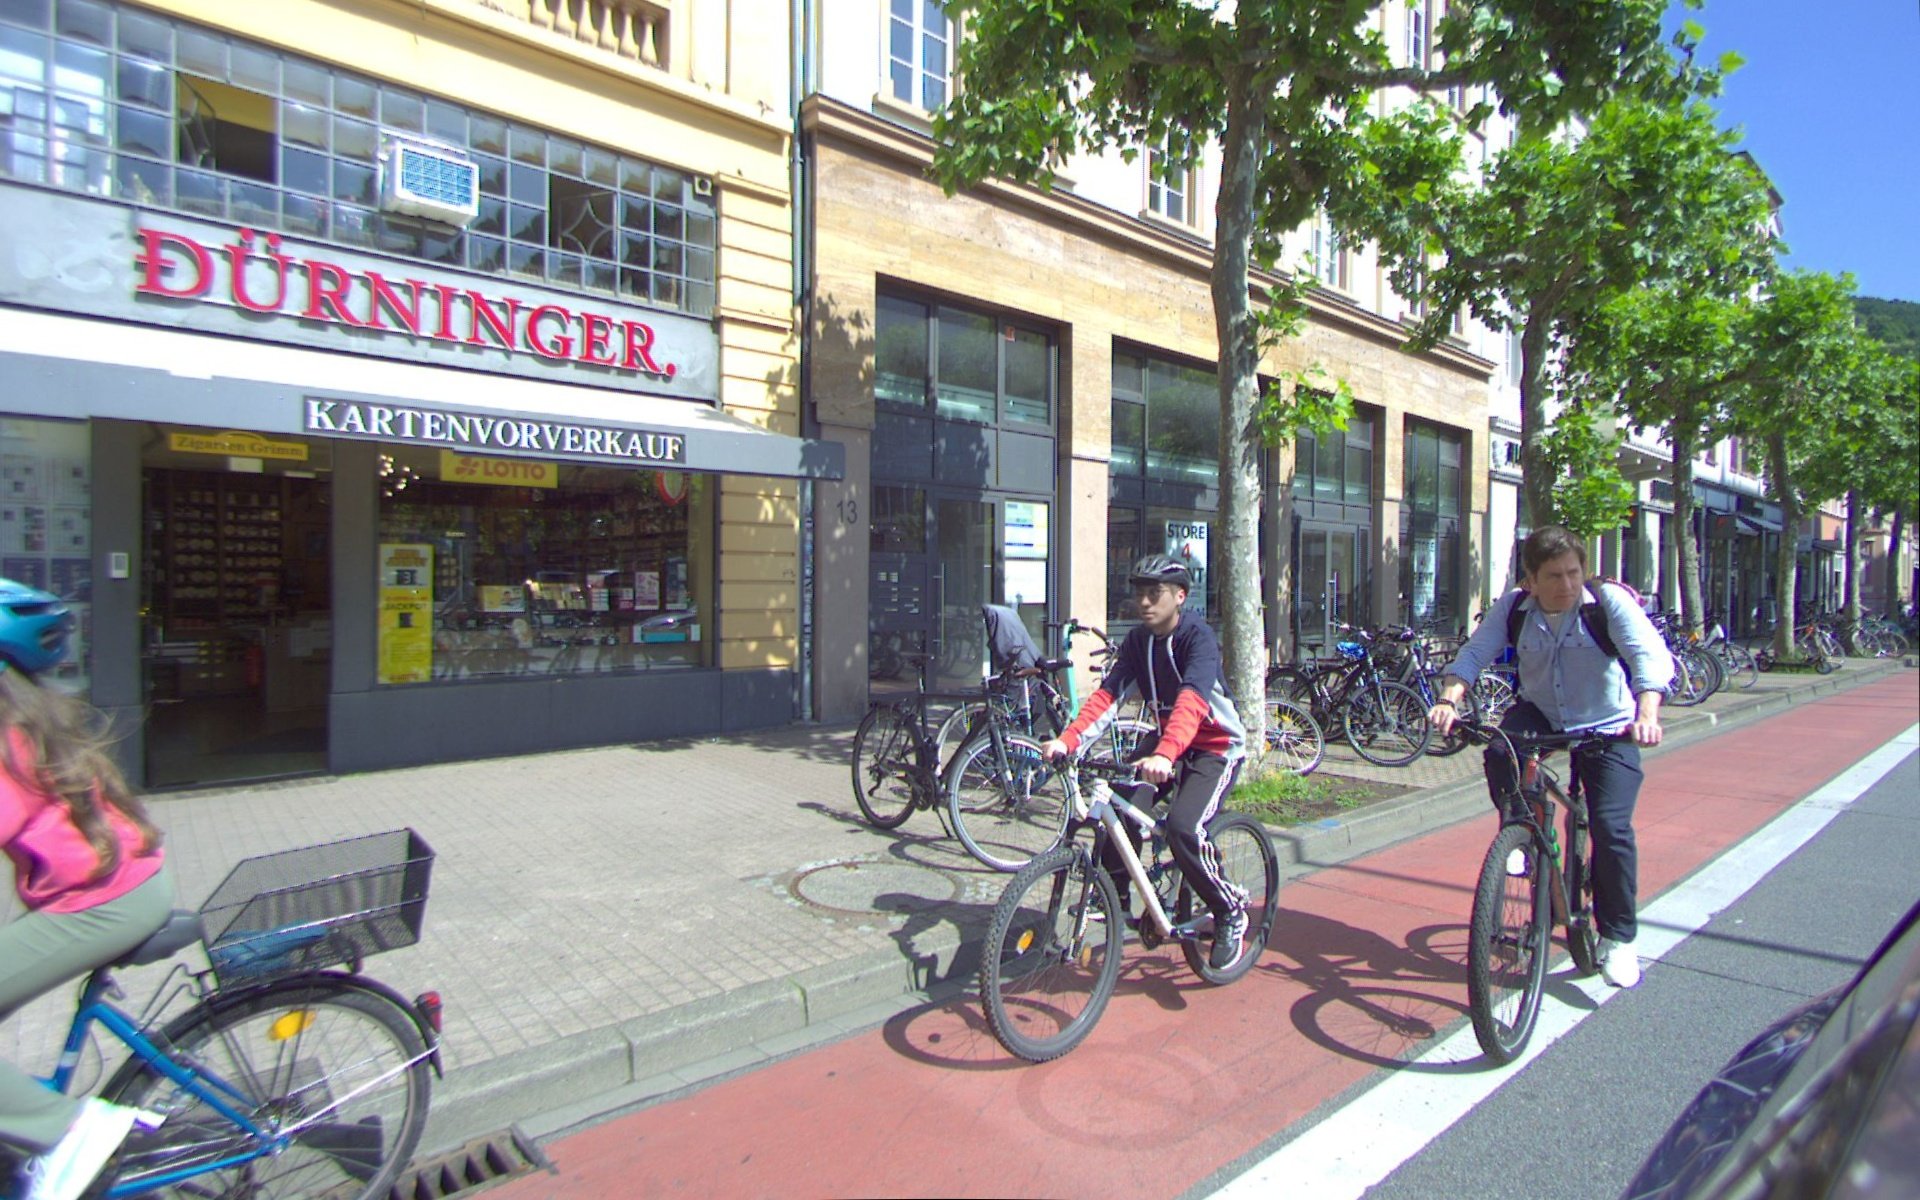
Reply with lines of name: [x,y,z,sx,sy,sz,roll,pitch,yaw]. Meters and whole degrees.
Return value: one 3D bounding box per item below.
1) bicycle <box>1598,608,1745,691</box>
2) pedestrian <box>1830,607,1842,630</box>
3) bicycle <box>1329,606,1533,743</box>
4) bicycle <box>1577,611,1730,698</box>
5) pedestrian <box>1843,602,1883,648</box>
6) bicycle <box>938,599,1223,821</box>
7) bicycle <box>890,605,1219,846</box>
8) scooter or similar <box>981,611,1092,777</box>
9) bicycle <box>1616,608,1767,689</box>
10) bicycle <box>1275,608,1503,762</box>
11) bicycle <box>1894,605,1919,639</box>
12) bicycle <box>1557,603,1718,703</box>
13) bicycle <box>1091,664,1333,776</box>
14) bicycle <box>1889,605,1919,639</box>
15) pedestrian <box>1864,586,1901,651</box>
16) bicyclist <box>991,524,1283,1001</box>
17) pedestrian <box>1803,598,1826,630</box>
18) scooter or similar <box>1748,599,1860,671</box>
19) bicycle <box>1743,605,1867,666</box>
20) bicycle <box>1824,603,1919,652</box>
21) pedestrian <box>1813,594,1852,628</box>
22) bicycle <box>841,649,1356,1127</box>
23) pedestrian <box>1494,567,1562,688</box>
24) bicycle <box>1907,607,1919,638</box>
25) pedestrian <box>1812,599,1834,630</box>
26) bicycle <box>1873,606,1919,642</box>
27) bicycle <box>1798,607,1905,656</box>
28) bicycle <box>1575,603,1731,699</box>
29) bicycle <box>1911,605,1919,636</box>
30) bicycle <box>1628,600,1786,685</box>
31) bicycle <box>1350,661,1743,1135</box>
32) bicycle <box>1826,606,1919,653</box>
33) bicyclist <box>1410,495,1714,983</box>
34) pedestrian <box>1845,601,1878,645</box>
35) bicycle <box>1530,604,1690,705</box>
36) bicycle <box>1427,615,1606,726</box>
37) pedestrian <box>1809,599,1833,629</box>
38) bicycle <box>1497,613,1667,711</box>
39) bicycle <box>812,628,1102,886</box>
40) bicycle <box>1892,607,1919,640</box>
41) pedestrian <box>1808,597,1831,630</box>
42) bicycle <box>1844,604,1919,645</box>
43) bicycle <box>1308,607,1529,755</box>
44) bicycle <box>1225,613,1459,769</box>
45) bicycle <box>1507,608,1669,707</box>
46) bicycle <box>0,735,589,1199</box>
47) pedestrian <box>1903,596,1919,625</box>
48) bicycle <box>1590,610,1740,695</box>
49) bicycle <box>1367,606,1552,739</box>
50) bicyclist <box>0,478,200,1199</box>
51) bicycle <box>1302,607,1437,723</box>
bicycle: [10.386,0.689,14.828,0.395,1.123,1.733,0,0,-38]
pedestrian: [37.069,0.769,42.827,0.429,0.980,0.342,1,0,-39]
bicycle: [4.648,0.685,10.121,0.465,1.216,1.848,0,0,-38]
bicycle: [9.761,0.736,14.298,0.469,1.123,1.733,0,0,-38]
pedestrian: [25.623,0.695,28.717,0.566,1.258,0.788,-1,0,-43]
bicycle: [0.799,0.667,6.874,1.811,1.325,0.682,0,0,30]
bicycle: [0.554,0.678,6.250,1.923,1.273,0.697,0,0,31]
scooter or similar: [0.630,0.695,8.030,0.418,1.193,1.219,0,0,28]
bicycle: [11.050,0.697,15.339,0.723,1.123,1.733,0,0,-38]
bicycle: [3.805,0.694,9.120,0.597,1.216,1.848,0,0,-38]
bicycle: [33.222,0.754,34.594,1.836,1.141,0.623,-2,-1,40]
bicycle: [9.016,0.674,13.527,0.469,1.232,1.733,0,0,-38]
bicycle: [2.047,0.939,8.292,1.833,0.725,0.652,0,0,29]
bicycle: [33.987,0.767,35.580,1.835,1.141,0.755,-2,0,37]
pedestrian: [24.801,0.506,27.212,0.829,1.711,0.639,2,-3,-43]
bicyclist: [0.636,0.499,3.632,0.777,1.459,0.699,0,-1,-44]
pedestrian: [35.996,0.583,42.652,0.523,1.349,0.682,1,0,-43]
scooter or similar: [15.999,0.645,19.210,0.656,1.291,1.481,0,-1,-29]
bicycle: [17.399,0.703,20.885,0.657,1.201,1.845,0,-1,-35]
bicycle: [23.963,0.693,26.556,0.660,1.212,1.847,0,0,-33]
pedestrian: [39.483,0.488,45.804,0.823,1.502,1.253,0,0,-43]
bicycle: [0.606,0.791,3.593,2.047,1.141,0.699,0,-1,-44]
pedestrian: [7.893,0.365,14.064,0.731,1.633,0.616,0,0,-40]
bicycle: [34.928,0.796,35.942,0.554,1.107,1.843,0,-1,-40]
pedestrian: [37.306,0.621,43.748,0.598,1.268,0.640,-1,3,-43]
bicycle: [29.900,0.759,31.745,1.838,1.141,0.490,-2,-3,42]
bicycle: [21.890,0.751,24.867,0.779,1.111,1.846,0,0,-35]
bicycle: [9.548,0.661,14.001,0.469,1.232,1.733,0,0,-38]
bicycle: [35.915,0.751,36.836,1.819,1.141,0.591,0,1,14]
bicycle: [12.061,0.647,16.399,0.723,1.264,1.936,0,0,-38]
bicycle: [2.216,0.852,3.672,2.047,1.141,0.699,0,-1,-44]
bicycle: [23.279,0.739,25.740,0.487,1.141,1.848,0,-1,-29]
bicyclist: [2.168,0.417,3.629,0.945,1.464,0.699,0,-1,-44]
pedestrian: [26.008,0.646,29.193,0.587,1.248,0.640,-1,0,-43]
bicycle: [8.533,0.677,13.353,0.469,1.232,1.733,0,0,-38]
bicycle: [6.161,0.737,11.276,0.595,1.109,1.653,0,0,-38]
pedestrian: [36.873,0.601,43.350,0.523,1.269,0.682,1,1,-43]
bicycle: [7.777,0.739,12.730,0.595,1.109,1.733,0,0,-38]
bicycle: [-0.084,0.773,5.664,0.553,1.136,1.784,0,1,-43]
bicycle: [33.527,0.814,34.993,1.837,1.107,0.556,-1,-1,40]
pedestrian: [36.489,0.576,42.976,0.523,1.355,0.682,1,0,-43]
bicycle: [28.360,0.739,31.038,1.760,1.212,0.573,0,0,23]
bicycle: [4.204,0.687,9.418,0.535,1.216,1.848,0,0,-38]
bicycle: [3.262,0.719,8.804,0.647,1.178,1.848,0,0,-38]
bicycle: [8.103,0.706,13.124,0.469,1.176,1.733,0,0,-38]
bicycle: [-1.844,0.866,1.947,2.051,0.937,0.601,-1,1,-41]
pedestrian: [56.905,0.609,60.154,0.892,1.630,0.970,1,4,21]
bicycle: [10.094,0.719,14.541,0.395,1.123,1.733,0,0,-38]
bicycle: [5.037,0.684,10.290,0.465,1.216,1.653,0,0,-38]
bicyclist: [-1.896,0.477,1.901,0.708,1.375,0.601,0,1,-41]
bicycle: [4.539,0.680,11.188,1.621,1.203,0.475,0,0,-29]
